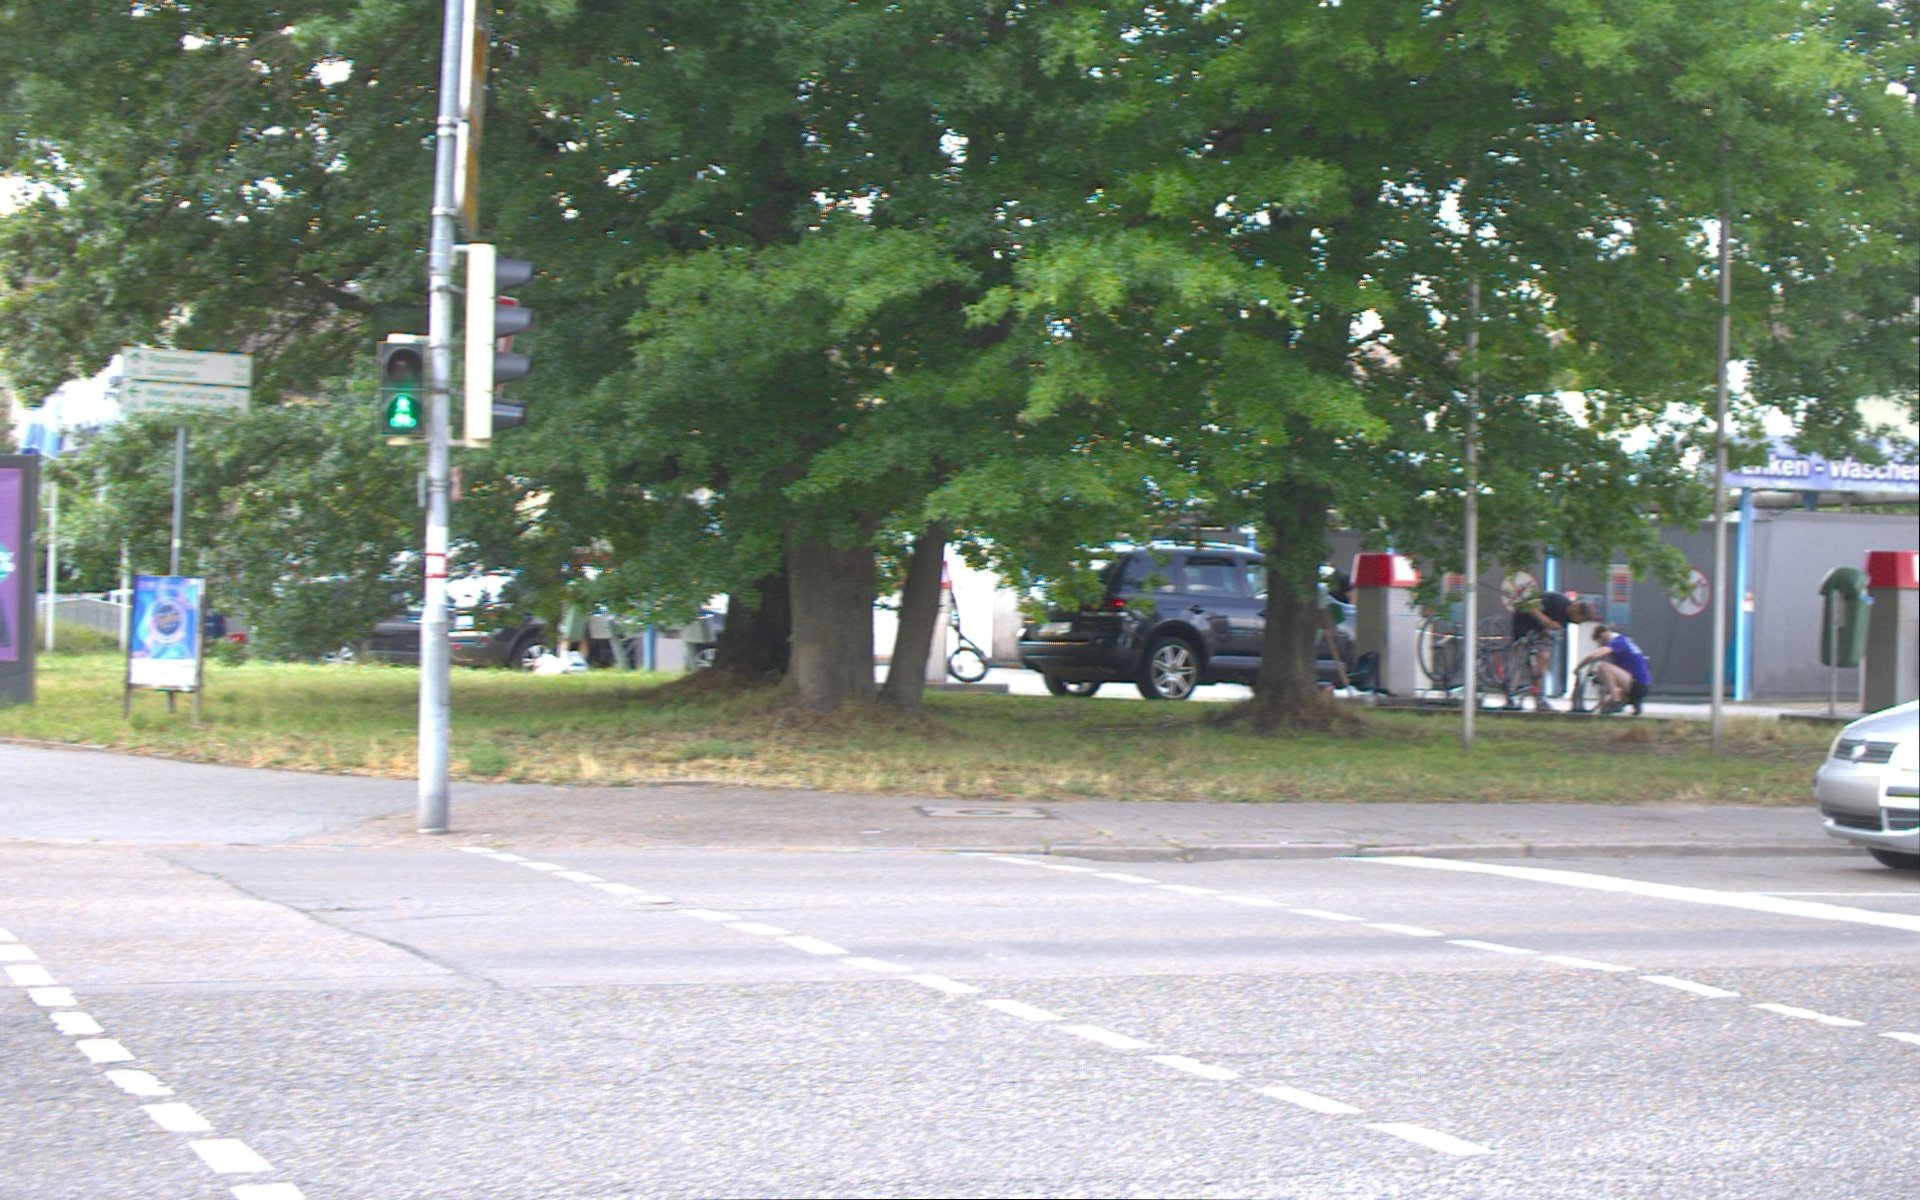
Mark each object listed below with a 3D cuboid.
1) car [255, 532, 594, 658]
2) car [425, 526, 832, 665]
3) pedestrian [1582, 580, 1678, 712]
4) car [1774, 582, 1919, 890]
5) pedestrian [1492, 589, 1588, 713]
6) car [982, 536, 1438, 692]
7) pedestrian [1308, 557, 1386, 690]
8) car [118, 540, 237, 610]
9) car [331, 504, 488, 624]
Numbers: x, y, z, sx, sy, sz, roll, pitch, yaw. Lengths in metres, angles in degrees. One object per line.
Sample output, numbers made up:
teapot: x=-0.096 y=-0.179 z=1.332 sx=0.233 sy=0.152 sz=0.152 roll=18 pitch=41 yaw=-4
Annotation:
car: x=-8.962 y=-0.072 z=57.624 sx=5.179 sy=1.997 sz=2.154 roll=1 pitch=0 yaw=-27
car: x=-4.551 y=-0.039 z=47.589 sx=5.181 sy=1.820 sz=2.154 roll=1 pitch=0 yaw=-34
pedestrian: x=6.602 y=0.457 z=33.863 sx=0.764 sy=1.251 sz=0.644 roll=2 pitch=-2 yaw=23
car: x=6.281 y=0.701 z=17.960 sx=3.596 sy=1.512 sz=1.559 roll=1 pitch=0 yaw=-11
pedestrian: x=5.766 y=0.505 z=34.163 sx=0.764 sy=1.186 sz=0.644 roll=2 pitch=-2 yaw=23
car: x=2.738 y=0.164 z=37.293 sx=4.549 sy=1.590 sz=2.154 roll=1 pitch=0 yaw=-34
pedestrian: x=4.436 y=0.266 z=39.413 sx=0.560 sy=1.490 sz=0.620 roll=4 pitch=-2 yaw=-31
car: x=-16.992 y=-0.537 z=74.537 sx=1.750 sy=1.449 sz=3.742 roll=1 pitch=0 yaw=-25
car: x=-11.841 y=-0.760 z=73.615 sx=1.750 sy=2.445 sz=5.751 roll=1 pitch=0 yaw=-25
